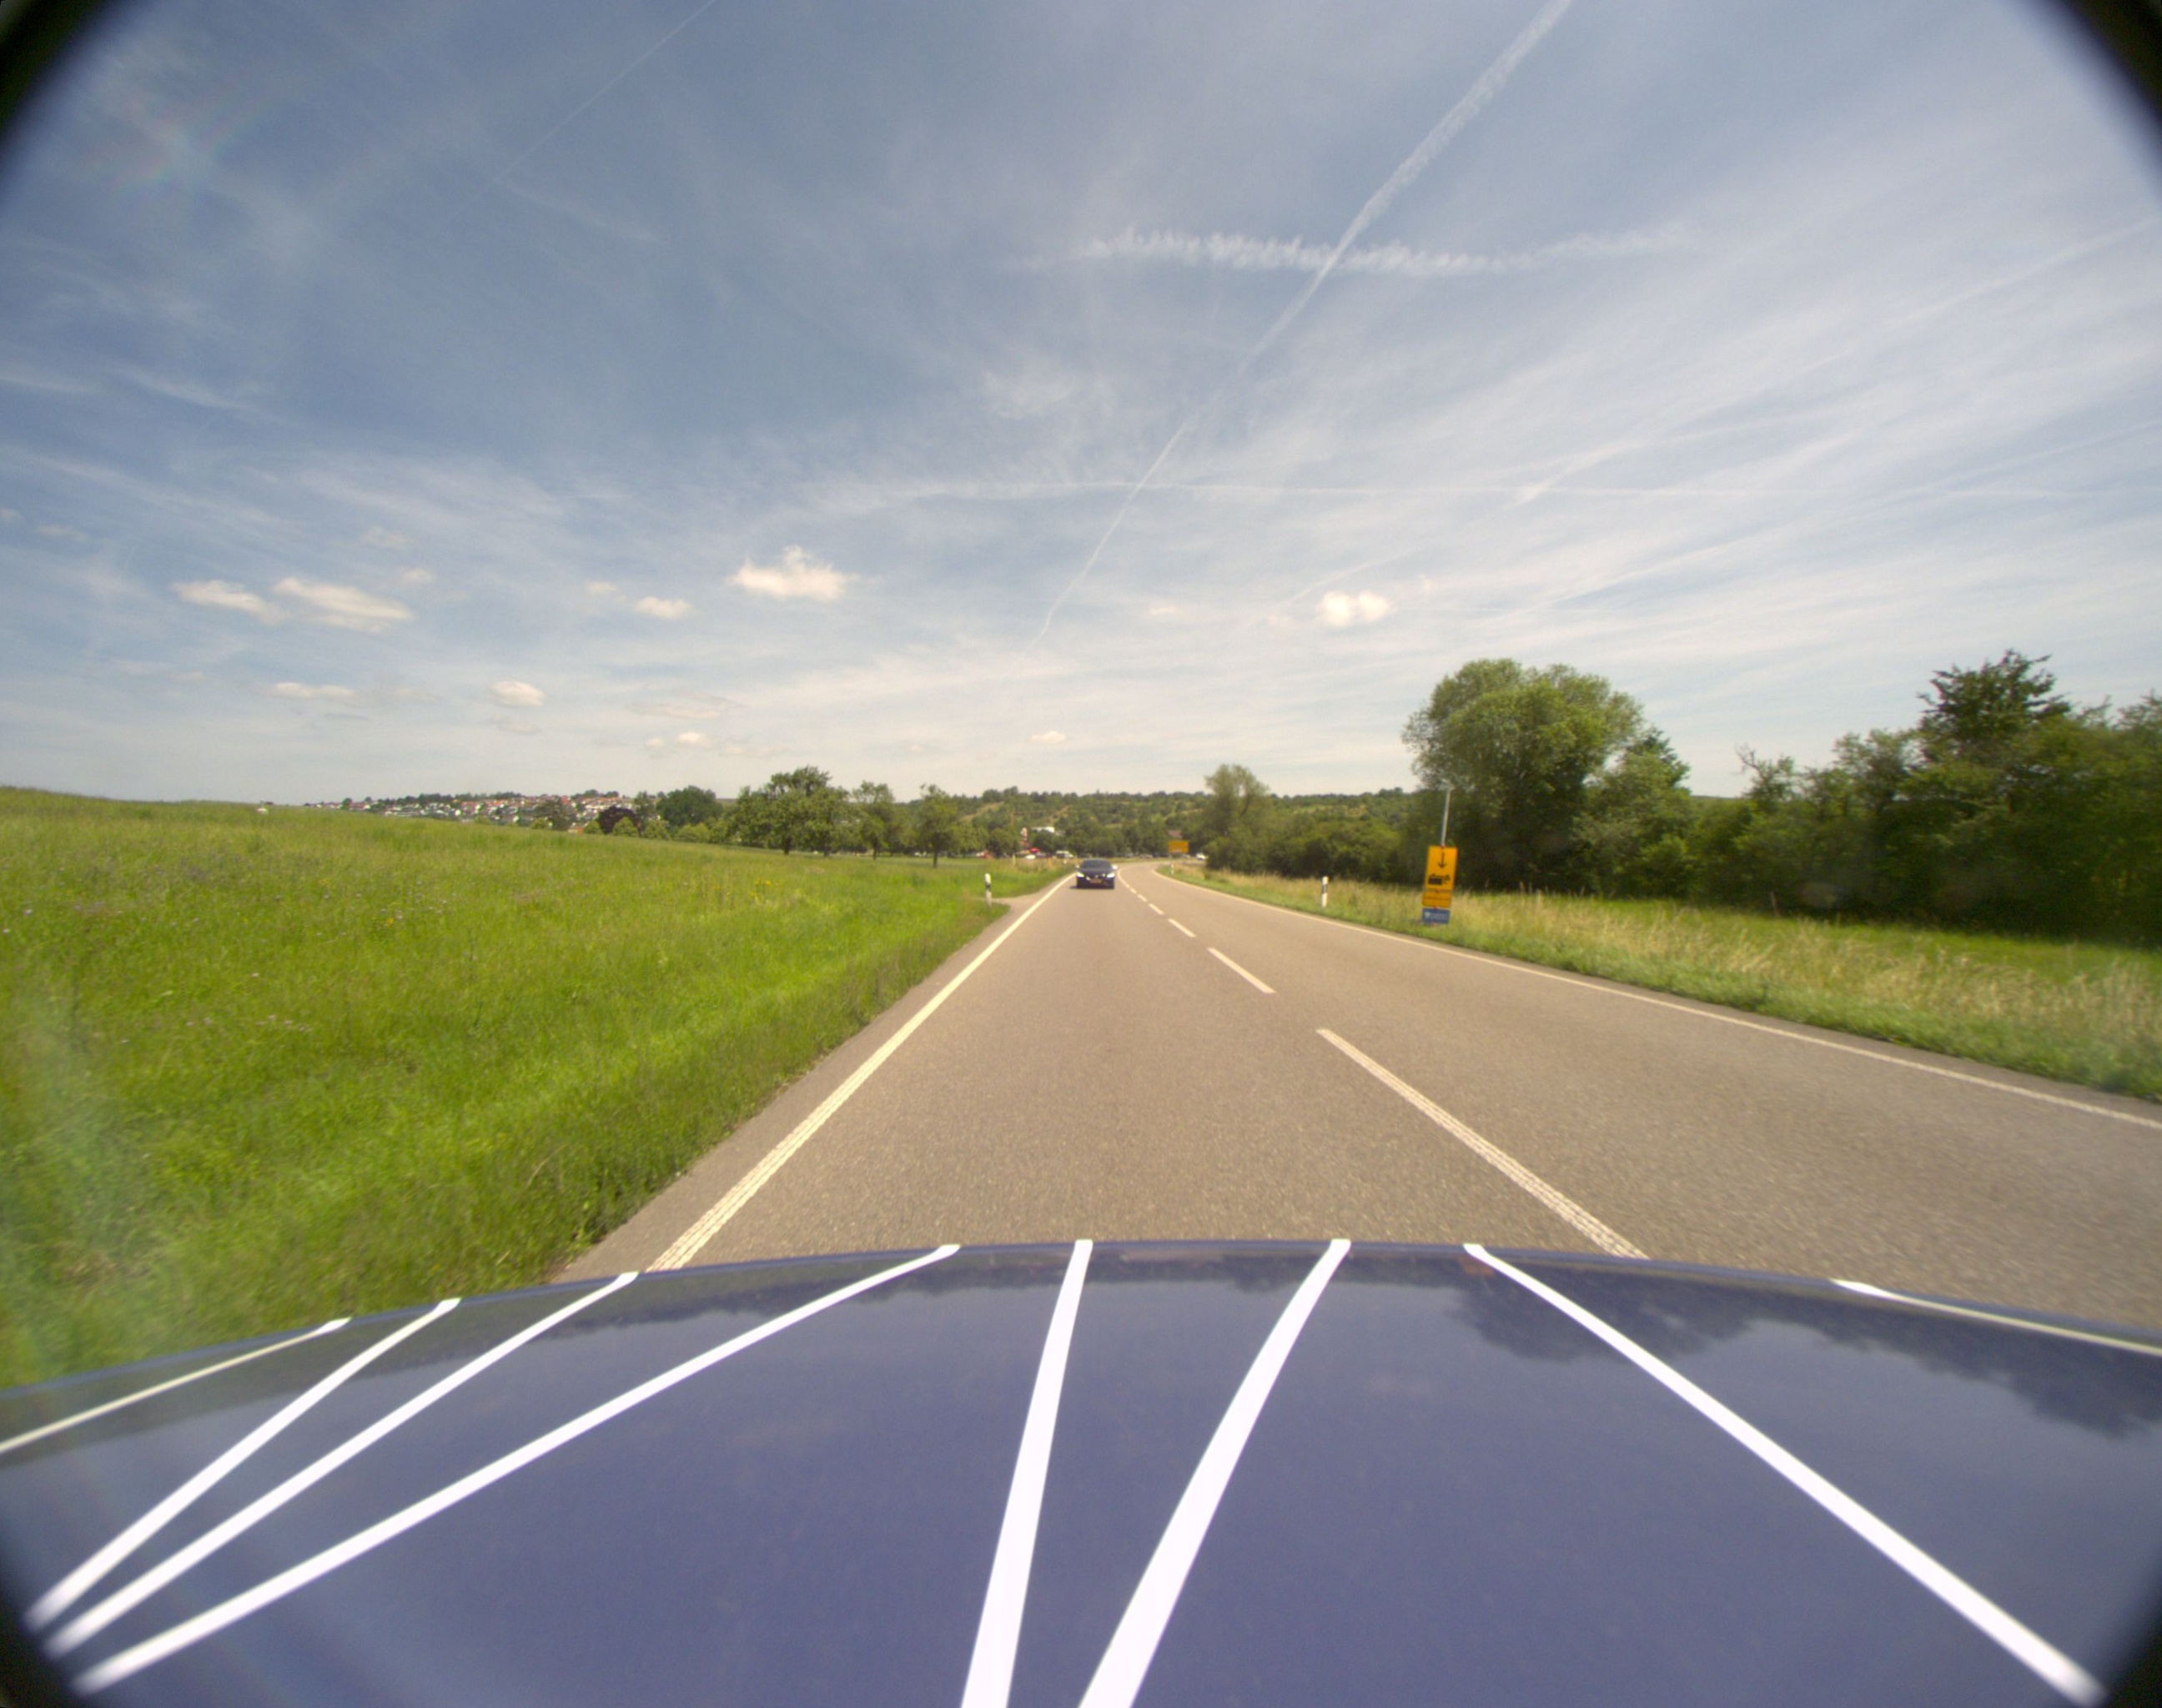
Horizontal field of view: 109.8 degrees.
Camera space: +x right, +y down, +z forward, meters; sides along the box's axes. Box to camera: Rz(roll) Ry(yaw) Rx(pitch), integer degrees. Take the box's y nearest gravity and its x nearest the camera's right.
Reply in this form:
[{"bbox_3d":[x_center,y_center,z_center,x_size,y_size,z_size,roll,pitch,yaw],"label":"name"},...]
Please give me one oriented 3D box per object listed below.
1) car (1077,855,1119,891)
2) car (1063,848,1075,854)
[{"bbox_3d":[0.754,0.827,35.350,1.785,1.440,4.603,2,1,0],"label":"car"},{"bbox_3d":[-4.031,-1.002,255.836,3.997,2.002,1.887,2,1,0],"label":"car"}]
